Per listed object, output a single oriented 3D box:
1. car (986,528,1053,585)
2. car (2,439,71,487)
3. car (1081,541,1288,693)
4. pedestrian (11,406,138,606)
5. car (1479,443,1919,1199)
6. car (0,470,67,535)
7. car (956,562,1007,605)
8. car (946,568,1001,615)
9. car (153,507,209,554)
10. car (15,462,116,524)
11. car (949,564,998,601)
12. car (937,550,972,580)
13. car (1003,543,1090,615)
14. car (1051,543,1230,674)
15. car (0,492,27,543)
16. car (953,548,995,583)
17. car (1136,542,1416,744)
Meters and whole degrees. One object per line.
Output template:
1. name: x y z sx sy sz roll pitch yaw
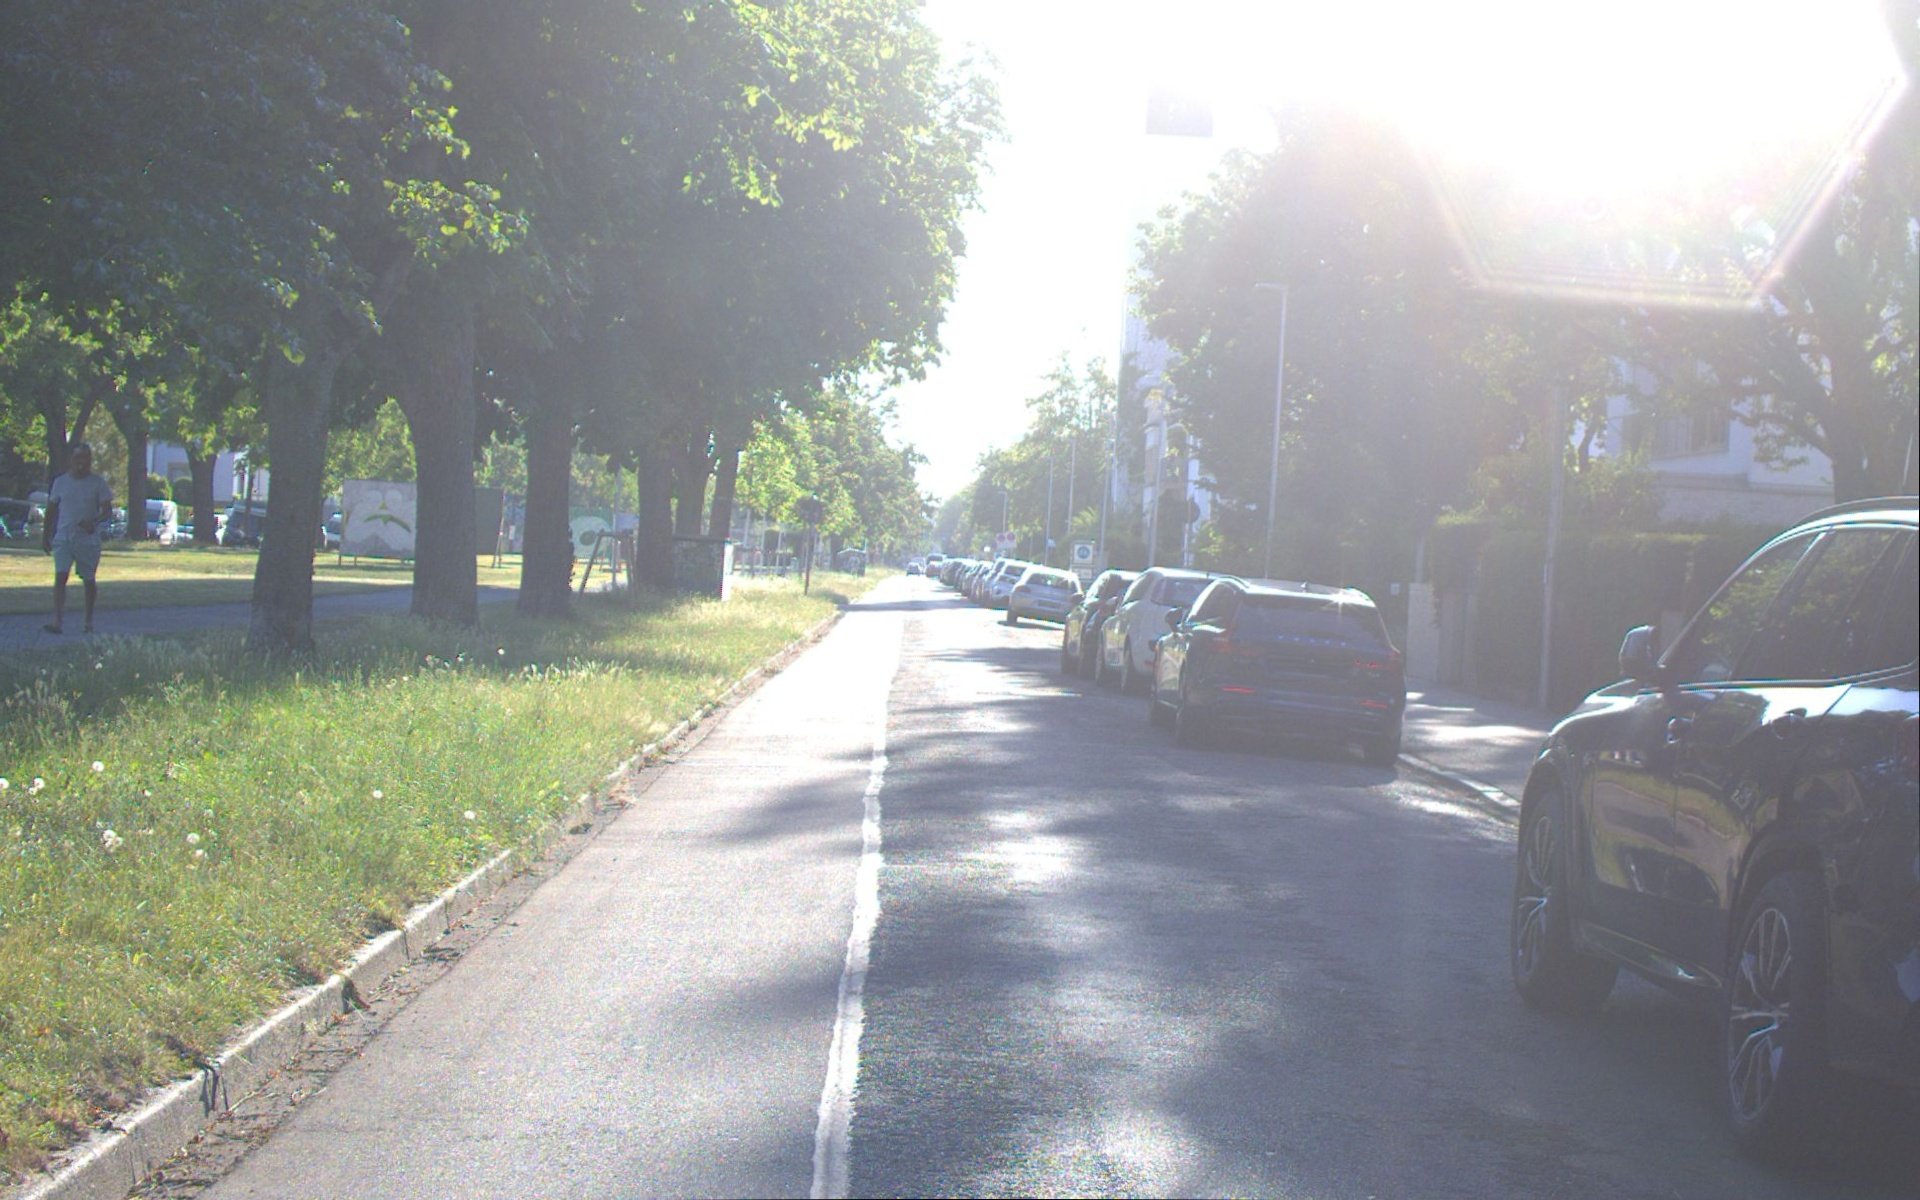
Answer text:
1. car: 1.806 -1.322 105.782 1.758 1.599 4.359 3 0 -2
2. car: -43.647 -6.444 162.521 1.993 2.007 4.485 -3 0 -1
3. car: 2.566 0.175 40.182 1.691 1.478 3.930 8 0 -5
4. pedestrian: -8.040 -0.845 31.250 0.724 1.752 0.993 4 1 6
5. car: 3.010 0.603 10.198 1.993 1.731 4.864 6 0 0
6. car: -35.647 -3.697 130.703 1.993 2.242 5.187 4 0 -1
7. car: 0.837 -0.661 136.624 1.761 1.516 4.000 5 0 -2
8. car: 0.489 -0.336 126.295 1.758 1.599 4.359 3 0 -2
9. car: -42.379 -3.765 187.053 1.993 2.401 4.363 1 0 0
10. car: -35.773 -4.258 137.623 2.534 2.229 5.459 3 1 0
11. car: 0.593 -0.748 147.053 1.993 1.459 4.000 4 0 0
12. car: -0.309 -2.121 207.601 1.980 1.677 4.000 4 0 0
13. car: 2.047 -0.495 82.507 1.757 1.415 4.072 10 0 0
14. car: 2.322 0.088 45.192 1.748 1.472 4.289 5 0 -3
15. car: -35.595 -3.045 124.996 1.993 1.787 4.484 4 0 0
16. car: 0.687 -1.723 173.018 1.993 1.624 4.000 4 0 0
17. car: 2.652 0.353 29.880 1.793 1.487 4.674 4 0 -1
